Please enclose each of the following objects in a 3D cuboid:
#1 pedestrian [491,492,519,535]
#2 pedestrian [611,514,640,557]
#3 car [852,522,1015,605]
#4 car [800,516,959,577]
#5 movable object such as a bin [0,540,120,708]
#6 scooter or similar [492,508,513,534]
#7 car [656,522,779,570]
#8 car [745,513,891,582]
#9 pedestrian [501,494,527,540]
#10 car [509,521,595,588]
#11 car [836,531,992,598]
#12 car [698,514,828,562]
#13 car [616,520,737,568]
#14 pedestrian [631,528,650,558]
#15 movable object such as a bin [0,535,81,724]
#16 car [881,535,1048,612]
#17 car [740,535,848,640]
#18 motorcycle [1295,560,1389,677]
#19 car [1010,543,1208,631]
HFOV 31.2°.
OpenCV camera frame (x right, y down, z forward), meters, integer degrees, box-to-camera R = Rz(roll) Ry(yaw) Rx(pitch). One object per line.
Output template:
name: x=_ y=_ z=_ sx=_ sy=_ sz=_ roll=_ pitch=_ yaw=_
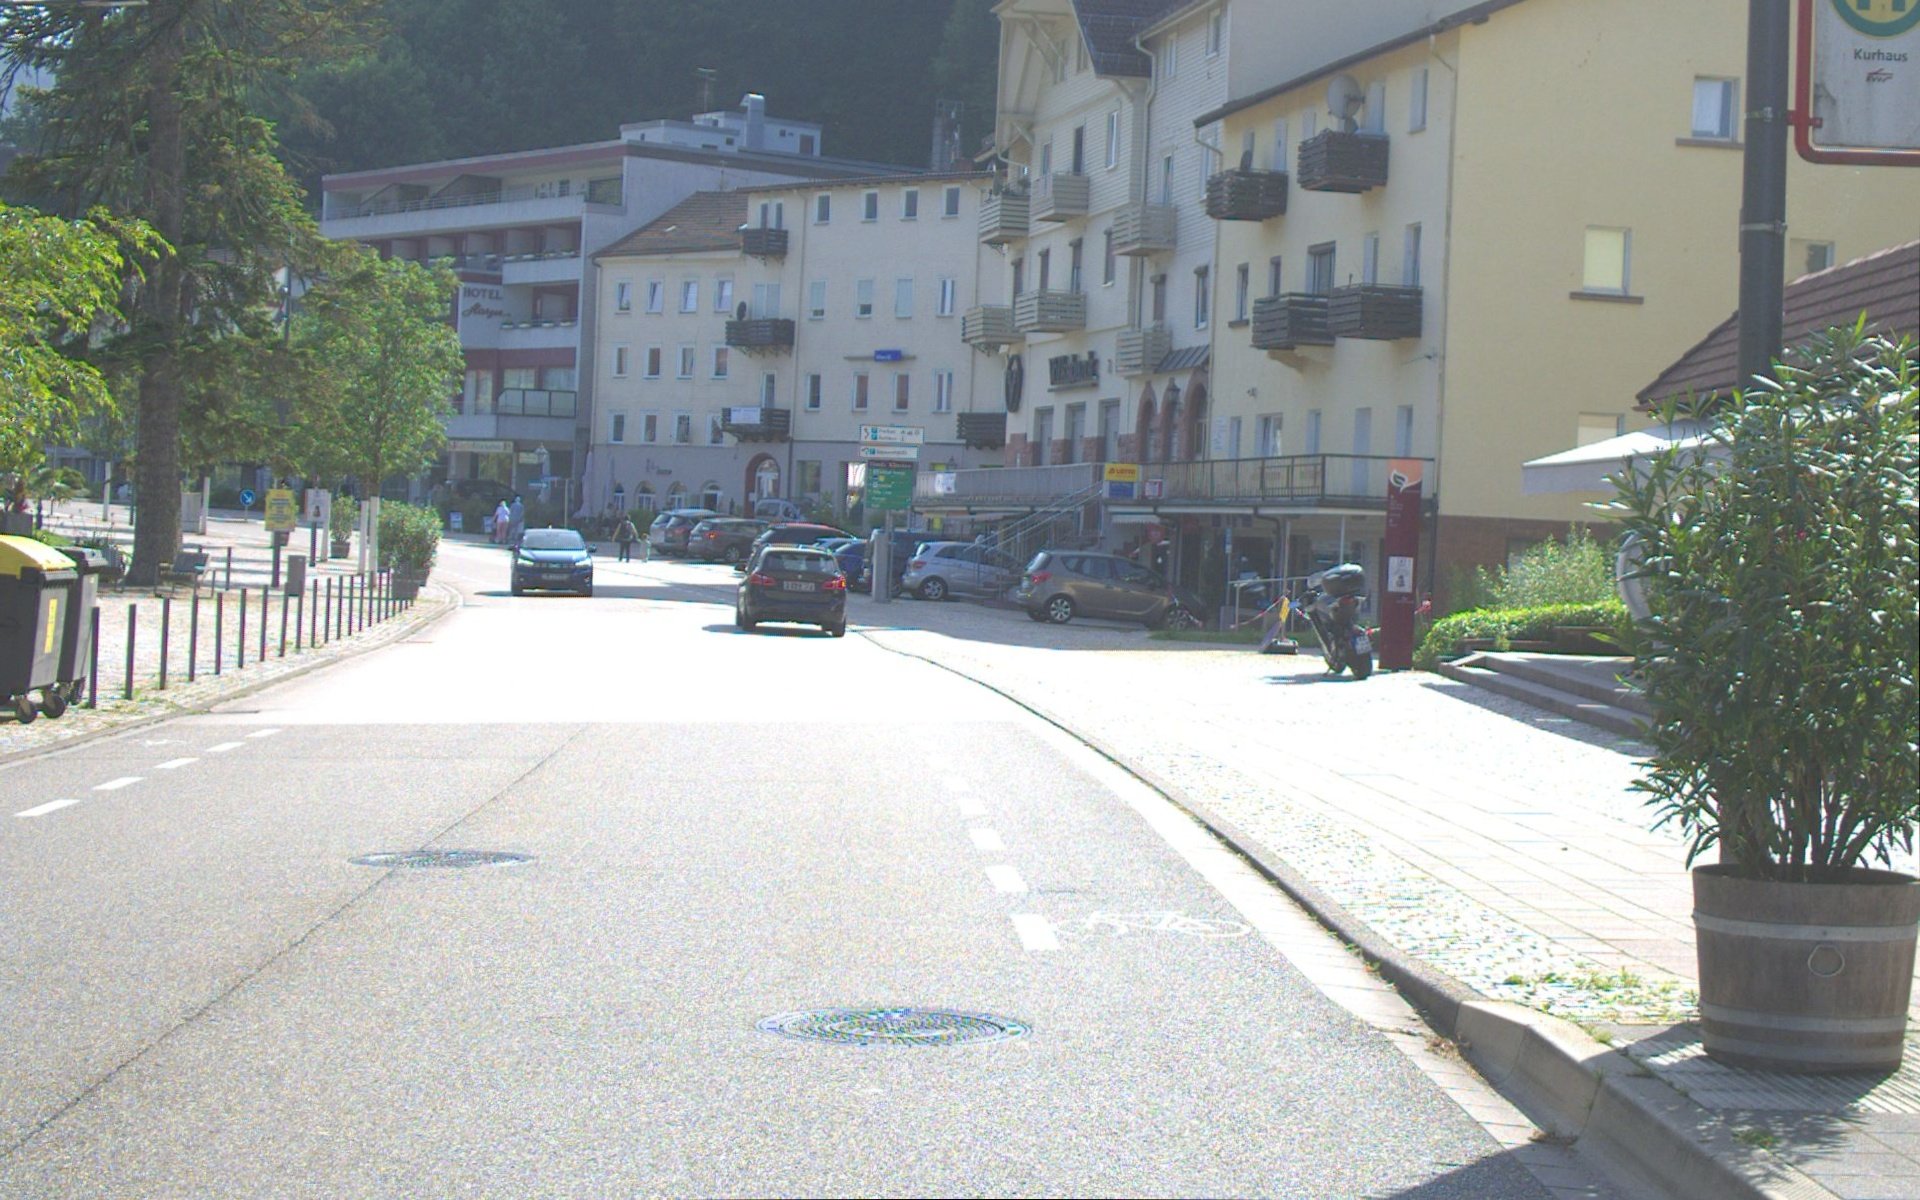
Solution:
pedestrian: x=-17.292 y=-3.291 z=130.571 sx=0.757 sy=1.588 sz=0.628 roll=3 pitch=1 yaw=-33
pedestrian: x=-11.153 y=-2.147 z=114.572 sx=0.735 sy=1.437 sz=0.633 roll=0 pitch=2 yaw=-36
car: x=-0.709 y=-0.969 z=90.829 sx=3.908 sy=1.798 sz=1.858 roll=6 pitch=0 yaw=-10
car: x=-2.360 y=-1.542 z=99.898 sx=4.355 sy=1.456 sz=1.773 roll=4 pitch=0 yaw=-8
movable object such as a bin: x=-7.726 y=0.190 z=29.368 sx=0.755 sy=1.337 sz=1.295 roll=4 pitch=1 yaw=-3
scooter or similar: x=-17.390 y=-3.019 z=130.710 sx=0.596 sy=0.947 sz=0.474 roll=3 pitch=1 yaw=-33
car: x=-8.438 y=-1.897 z=119.797 sx=3.861 sy=1.544 sz=1.773 roll=-1 pitch=4 yaw=-30
car: x=-4.341 y=-1.611 z=104.794 sx=4.083 sy=1.660 sz=1.773 roll=6 pitch=1 yaw=-10
pedestrian: x=-17.114 y=-3.188 z=131.829 sx=0.669 sy=1.722 sz=0.707 roll=3 pitch=1 yaw=-33
car: x=-9.165 y=-1.042 z=77.367 sx=1.741 sy=1.457 sz=4.188 roll=1 pitch=1 yaw=-4
car: x=-1.260 y=-0.983 z=93.678 sx=3.908 sy=1.456 sz=1.736 roll=5 pitch=1 yaw=-10
car: x=-6.631 y=-2.103 z=115.791 sx=4.009 sy=1.511 sz=1.773 roll=-1 pitch=4 yaw=-30
car: x=-10.097 y=-1.997 z=122.424 sx=3.861 sy=1.607 sz=1.773 roll=-1 pitch=4 yaw=-30
pedestrian: x=-10.692 y=-1.910 z=114.925 sx=0.417 sy=0.998 sz=0.531 roll=0 pitch=2 yaw=-34
movable object such as a bin: x=-7.751 y=0.201 z=27.439 sx=1.078 sy=1.422 sz=1.377 roll=4 pitch=1 yaw=-3
car: x=0.097 y=-0.695 z=88.351 sx=3.908 sy=1.583 sz=1.775 roll=5 pitch=1 yaw=-10
car: x=-2.961 y=-0.247 z=60.822 sx=1.727 sy=1.569 sz=3.754 roll=4 pitch=3 yaw=-4
motorcycle: x=4.418 y=0.196 z=39.895 sx=0.697 sy=1.292 sz=2.212 roll=0 pitch=1 yaw=-4
car: x=3.224 y=-0.285 z=74.801 sx=3.858 sy=1.549 sz=1.761 roll=5 pitch=1 yaw=-13
